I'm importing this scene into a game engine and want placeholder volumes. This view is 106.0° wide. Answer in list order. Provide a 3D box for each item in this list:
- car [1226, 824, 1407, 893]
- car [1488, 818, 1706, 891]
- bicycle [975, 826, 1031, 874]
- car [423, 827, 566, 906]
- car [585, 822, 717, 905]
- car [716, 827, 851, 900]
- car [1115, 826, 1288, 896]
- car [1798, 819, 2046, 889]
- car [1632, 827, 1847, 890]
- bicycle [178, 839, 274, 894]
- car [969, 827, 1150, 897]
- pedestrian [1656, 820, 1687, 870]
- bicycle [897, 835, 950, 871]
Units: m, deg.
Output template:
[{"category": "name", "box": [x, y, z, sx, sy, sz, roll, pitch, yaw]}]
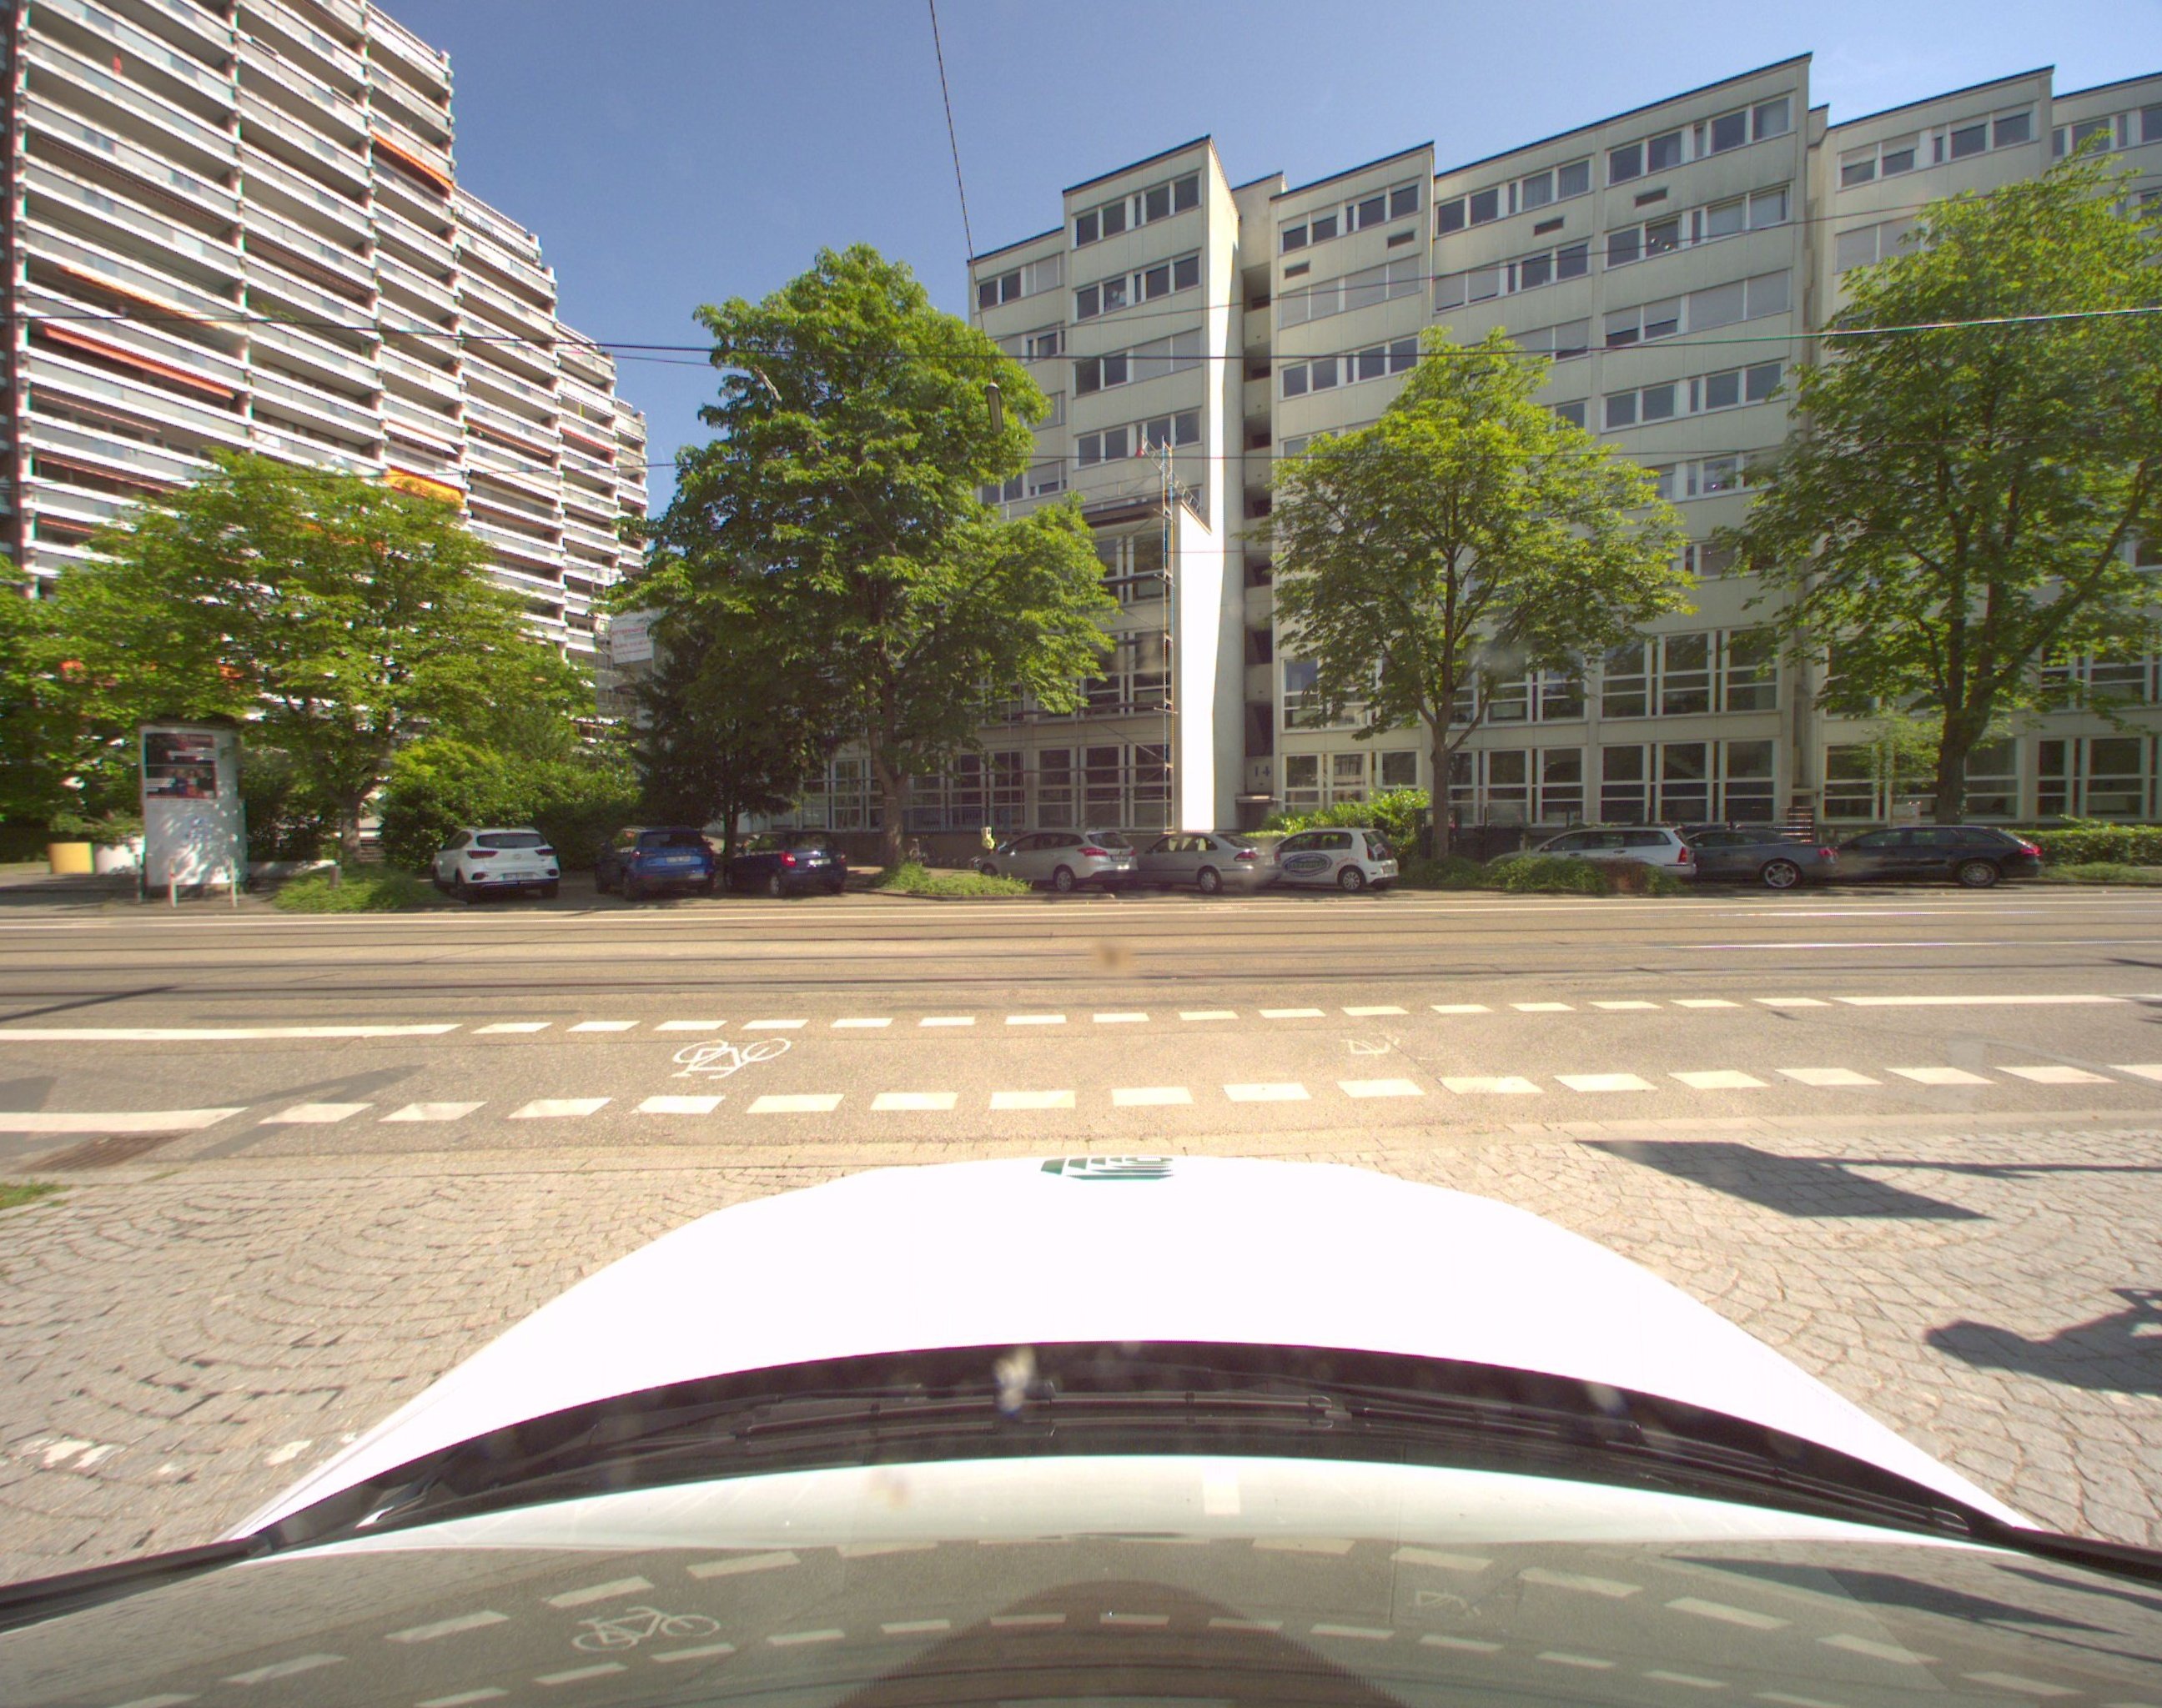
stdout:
[{"category": "car", "box": [5.594, 0.082, 19.673, 1.623, 1.486, 3.896, -2, 2, -45]}, {"category": "car", "box": [12.396, -0.028, 19.740, 4.289, 1.604, 1.568, 1, 1, 41]}, {"category": "bicycle", "box": [-2.469, -0.150, 26.099, 0.655, 1.453, 2.103, 0, 2, 30]}, {"category": "car", "box": [-13.459, 0.208, 18.629, 3.895, 1.606, 1.831, 1, 2, 42]}, {"category": "car", "box": [-10.040, 0.118, 18.897, 1.790, 1.622, 3.899, -3, 4, -42]}, {"category": "car", "box": [-6.976, 0.160, 18.971, 3.415, 1.530, 1.586, 1, 2, 44]}, {"category": "car", "box": [2.780, 0.096, 19.376, 1.622, 1.486, 3.897, -2, 2, -44]}, {"category": "car", "box": [19.421, -0.054, 19.053, 3.896, 1.486, 1.568, 1, 2, 44]}, {"category": "car", "box": [15.693, 0.044, 19.530, 3.896, 1.357, 1.568, 1, 2, 44]}, {"category": "bicycle", "box": [-20.966, 0.293, 19.993, 1.614, 1.308, 0.546, -1, 1, -7]}, {"category": "car", "box": [-0.615, 0.119, 19.585, 4.380, 1.486, 1.795, 1, 2, 44]}, {"category": "pedestrian", "box": [17.273, -0.268, 23.827, 0.618, 1.460, 0.424, -1, 1, -4]}, {"category": "bicycle", "box": [-5.196, -0.056, 26.963, 0.735, 1.085, 2.214, 0, 2, 18]}]
